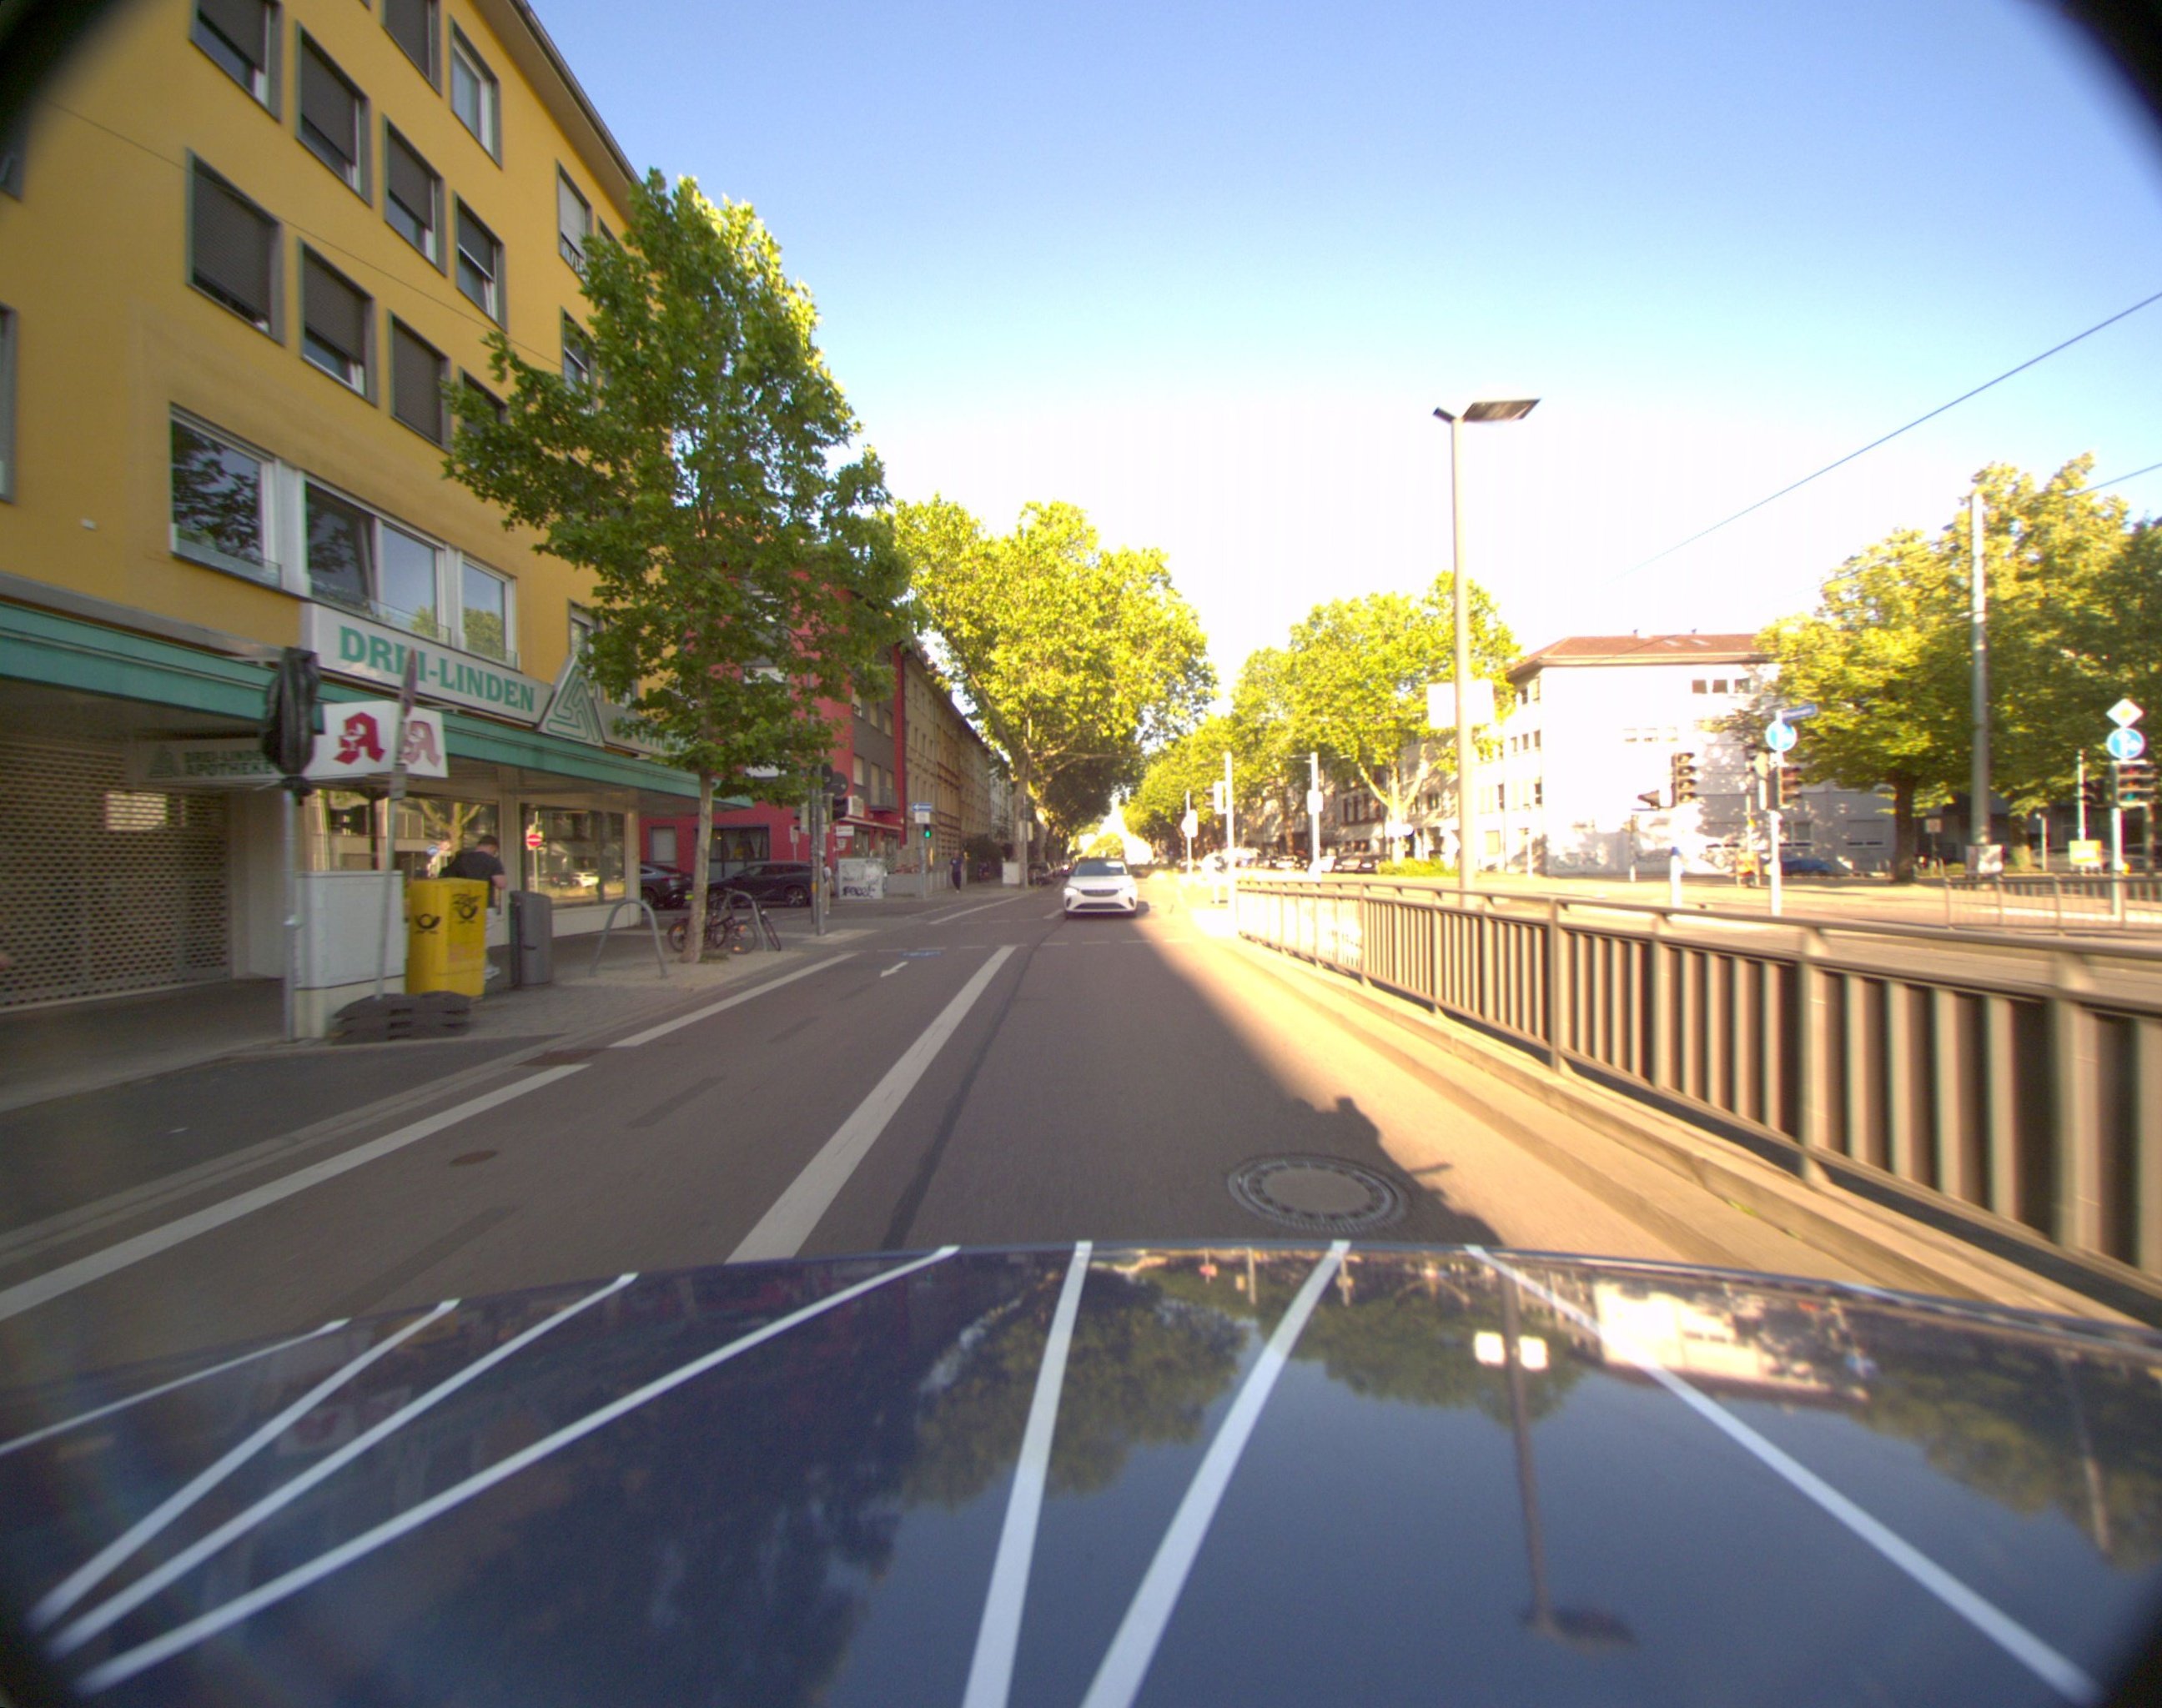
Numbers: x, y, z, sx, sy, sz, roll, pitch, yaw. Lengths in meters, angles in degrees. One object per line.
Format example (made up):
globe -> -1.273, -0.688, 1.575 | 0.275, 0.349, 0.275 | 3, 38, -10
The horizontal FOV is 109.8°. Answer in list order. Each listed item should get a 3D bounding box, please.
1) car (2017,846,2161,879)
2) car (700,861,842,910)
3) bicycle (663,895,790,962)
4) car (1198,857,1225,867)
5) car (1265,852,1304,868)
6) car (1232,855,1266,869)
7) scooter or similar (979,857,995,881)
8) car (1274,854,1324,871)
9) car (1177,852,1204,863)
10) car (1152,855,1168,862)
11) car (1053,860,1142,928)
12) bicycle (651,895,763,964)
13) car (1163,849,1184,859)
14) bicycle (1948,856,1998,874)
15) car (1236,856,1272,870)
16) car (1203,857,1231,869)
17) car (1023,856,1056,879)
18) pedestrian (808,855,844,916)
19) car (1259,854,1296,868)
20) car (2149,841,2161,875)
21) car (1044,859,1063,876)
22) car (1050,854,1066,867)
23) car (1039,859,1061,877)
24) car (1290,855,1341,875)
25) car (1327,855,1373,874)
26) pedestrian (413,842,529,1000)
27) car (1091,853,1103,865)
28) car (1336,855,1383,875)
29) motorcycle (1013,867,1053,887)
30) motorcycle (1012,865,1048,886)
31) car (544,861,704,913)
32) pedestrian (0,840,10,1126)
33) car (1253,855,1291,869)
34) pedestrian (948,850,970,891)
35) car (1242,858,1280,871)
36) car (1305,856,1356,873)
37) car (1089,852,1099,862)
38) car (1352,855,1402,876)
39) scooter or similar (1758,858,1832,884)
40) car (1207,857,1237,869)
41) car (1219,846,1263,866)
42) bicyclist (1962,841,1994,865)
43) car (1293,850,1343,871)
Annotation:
car -> 45.415, 0.398, 34.126 | 1.815, 1.389, 4.001 | 0, -1, 1
car -> -11.063, 1.105, 27.342 | 4.352, 1.676, 1.772 | 0, 0, 0
bicycle -> -5.800, 1.210, 12.481 | 1.803, 1.002, 0.541 | 2, 0, -3
car -> 21.663, 1.345, 125.905 | 4.006, 1.696, 1.996 | 0, 0, -27
car -> 21.362, 0.582, 79.750 | 4.266, 1.604, 1.902 | -1, 0, -40
car -> 22.158, 1.075, 100.390 | 4.006, 1.805, 1.996 | 0, 0, -27
scooter or similar -> -5.845, 0.912, 47.432 | 0.666, 1.461, 2.545 | 0, 0, 1
car -> 20.692, 0.779, 72.173 | 4.260, 1.548, 1.641 | 0, 0, -15
car -> 18.718, 0.608, 129.474 | 4.234, 1.696, 1.999 | 0, 0, -4
car -> 20.705, 1.075, 199.312 | 3.994, 1.802, 1.875 | 0, 0, 10
car -> 0.343, 0.878, 18.371 | 1.865, 1.394, 3.932 | -2, 0, 0
bicycle -> -5.842, 1.178, 11.911 | 1.487, 1.002, 0.454 | 2, 0, -3
car -> 21.330, -0.022, 175.519 | 4.952, 2.200, 2.096 | 0, 0, -42
bicycle -> 48.646, 0.589, 41.446 | 1.988, 0.974, 0.633 | 0, 0, 1
car -> 21.356, 1.113, 93.816 | 4.006, 1.608, 1.996 | 0, 0, -27
car -> 21.228, 1.354, 118.565 | 4.006, 1.805, 1.996 | 0, 0, -27
car -> -2.645, 0.847, 49.155 | 1.802, 1.393, 4.370 | 2, 0, 1
pedestrian -> -7.707, 0.937, 23.012 | 0.745, 1.770, 0.894 | 0, 2, 0
car -> 21.530, 0.735, 83.212 | 4.265, 1.451, 1.598 | 0, 0, -36
car -> 52.796, 0.168, 34.480 | 1.999, 1.652, 4.709 | -1, 0, -1
car -> -2.781, 1.332, 77.792 | 1.803, 1.599, 4.370 | 2, 0, 0
car -> -2.710, 0.748, 91.118 | 1.803, 1.493, 4.370 | 2, 0, 0
car -> -2.855, 1.256, 70.366 | 1.803, 1.599, 4.370 | 2, 0, 0
car -> 20.774, 0.956, 67.258 | 4.265, 1.674, 2.147 | 0, 0, -34
car -> 21.729, 0.822, 61.406 | 3.979, 1.495, 1.827 | 0, 0, -42
pedestrian -> -7.183, 0.759, 8.984 | 0.725, 1.796, 0.766 | 0, 1, 0
car -> 2.982, 0.928, 142.234 | 1.998, 2.002, 4.000 | -2, 0, 0
car -> 21.452, 0.815, 58.396 | 3.979, 1.423, 1.738 | 0, -1, -42
motorcycle -> -2.761, 1.346, 43.861 | 2.217, 1.104, 0.663 | 2, -2, -27
motorcycle -> -2.795, 1.197, 41.731 | 1.895, 1.104, 0.783 | 3, -2, -42
car -> -16.209, 1.152, 27.125 | 4.613, 1.730, 1.772 | 0, 0, 0
pedestrian -> -7.058, 0.804, 4.347 | 0.725, 1.769, 0.766 | 0, 1, 0
car -> 21.767, 0.896, 86.490 | 4.265, 1.449, 1.902 | 0, 0, -36
pedestrian -> -5.229, 0.708, 32.627 | 0.728, 1.701, 0.816 | 2, 1, 0
car -> 21.443, 1.199, 90.688 | 4.004, 1.509, 1.997 | 0, 0, -20
car -> 20.976, 0.884, 63.859 | 4.266, 1.369, 2.147 | 0, 0, -40
car -> 2.810, 0.519, 159.255 | 1.998, 2.002, 4.000 | -2, 0, 1
car -> 21.370, 0.801, 54.798 | 3.979, 1.423, 1.767 | 0, 0, -42
scooter or similar -> 32.671, 0.740, 34.836 | 1.096, 1.119, 2.448 | -1, 0, 1
car -> 21.404, 1.333, 115.292 | 4.006, 1.805, 1.996 | 0, 0, -27
car -> 21.746, 0.289, 103.119 | 5.619, 2.684, 2.176 | 0, 0, -24
bicyclist -> 48.906, -0.047, 41.443 | 0.969, 1.323, 0.633 | 0, 0, 1
car -> 22.016, 0.617, 70.517 | 4.260, 1.932, 1.514 | 0, 0, -15
